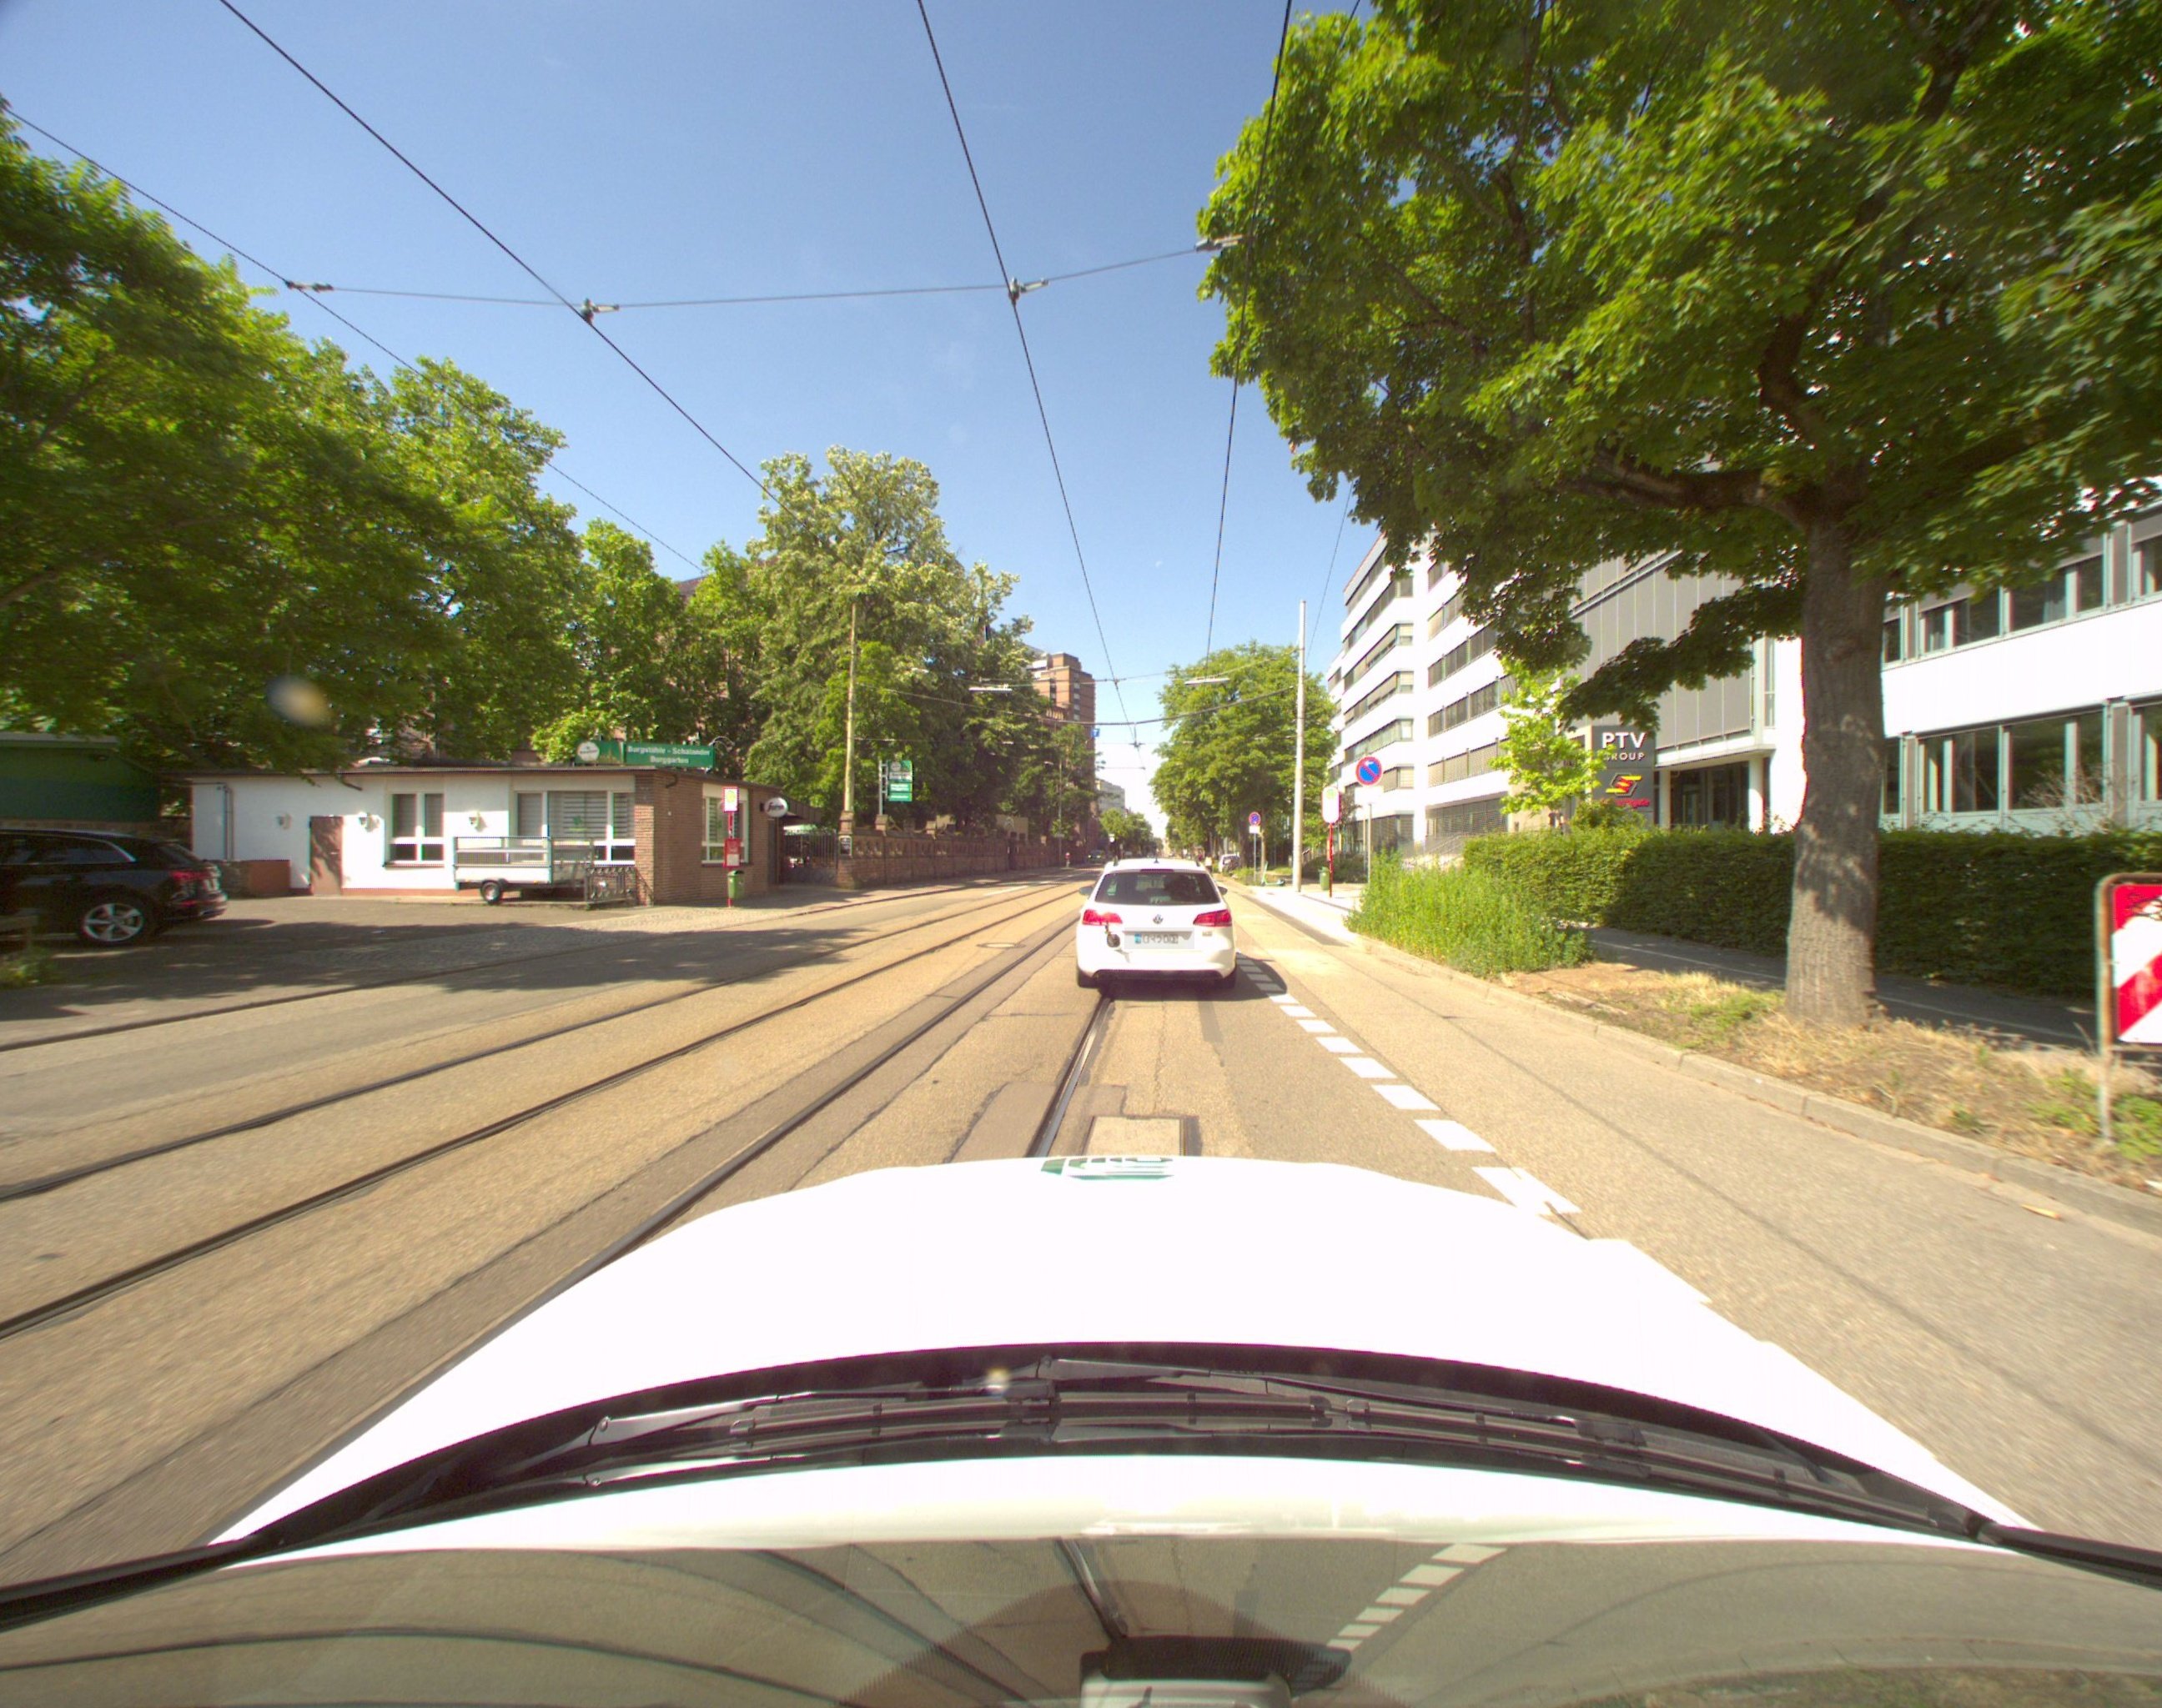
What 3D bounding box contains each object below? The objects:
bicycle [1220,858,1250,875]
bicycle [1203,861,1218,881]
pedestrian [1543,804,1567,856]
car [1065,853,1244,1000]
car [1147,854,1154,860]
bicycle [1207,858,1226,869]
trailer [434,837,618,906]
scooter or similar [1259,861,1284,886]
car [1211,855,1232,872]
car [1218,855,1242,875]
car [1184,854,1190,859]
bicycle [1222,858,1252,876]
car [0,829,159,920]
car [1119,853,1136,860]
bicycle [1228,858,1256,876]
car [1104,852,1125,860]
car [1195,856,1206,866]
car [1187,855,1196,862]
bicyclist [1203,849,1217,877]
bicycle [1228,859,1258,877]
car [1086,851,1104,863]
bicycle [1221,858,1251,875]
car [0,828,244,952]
[{"bbox_3d":[10.636,0.876,56.287,1.903,1.083,0.551,3,0,3],"label":"bicycle"},{"bbox_3d":[7.508,0.988,47.330,0.806,1.078,2.016,1,0,7],"label":"bicycle"},{"bbox_3d":[15.692,-0.788,26.985,0.496,1.728,0.548,1,0,5],"label":"pedestrian"},{"bbox_3d":[0.936,0.730,10.284,1.745,1.442,4.419,-1,0,5],"label":"car"},{"bbox_3d":[16.392,0.660,193.289,1.485,1.384,3.650,0,0,7],"label":"car"},{"bbox_3d":[13.141,0.897,79.079,1.781,1.010,0.488,0,0,1],"label":"bicycle"},{"bbox_3d":[-13.158,0.397,19.414,3.198,1.525,1.781,1,0,7],"label":"trailer"},{"bbox_3d":[8.698,0.884,37.199,1.135,1.154,0.495,1,0,12],"label":"scooter or similar"},{"bbox_3d":[12.504,0.791,72.786,1.655,1.444,4.642,0,0,7],"label":"car"},{"bbox_3d":[11.107,0.777,60.844,1.582,1.451,3.954,0,0,7],"label":"car"},{"bbox_3d":[29.398,0.596,226.391,1.704,1.401,3.851,0,0,7],"label":"car"},{"bbox_3d":[10.563,0.876,55.074,1.903,1.083,0.551,2,0,3],"label":"bicycle"},{"bbox_3d":[-19.930,0.340,14.345,4.601,1.583,1.927,0,0,-39],"label":"car"},{"bbox_3d":[12.212,0.559,213.608,4.011,1.816,1.981,0,0,-30],"label":"car"},{"bbox_3d":[10.651,0.855,53.809,1.766,1.120,0.597,0,0,3],"label":"bicycle"},{"bbox_3d":[7.414,0.477,180.739,4.124,1.530,1.923,2,0,-15],"label":"car"},{"bbox_3d":[17.854,1.014,121.715,1.703,1.401,3.852,0,0,8],"label":"car"},{"bbox_3d":[21.877,0.927,160.952,1.704,1.401,3.851,0,0,8],"label":"car"},{"bbox_3d":[7.526,0.500,47.449,0.782,1.629,0.739,0,0,6],"label":"bicyclist"},{"bbox_3d":[9.951,0.877,50.106,1.766,1.083,0.597,0,0,3],"label":"bicycle"},{"bbox_3d":[2.133,0.431,121.159,1.982,1.757,4.723,0,0,9],"label":"car"},{"bbox_3d":[10.590,0.870,55.675,1.903,1.083,0.551,3,0,3],"label":"bicycle"},{"bbox_3d":[-15.041,0.468,11.280,4.601,1.625,1.927,0,0,-40],"label":"car"}]
